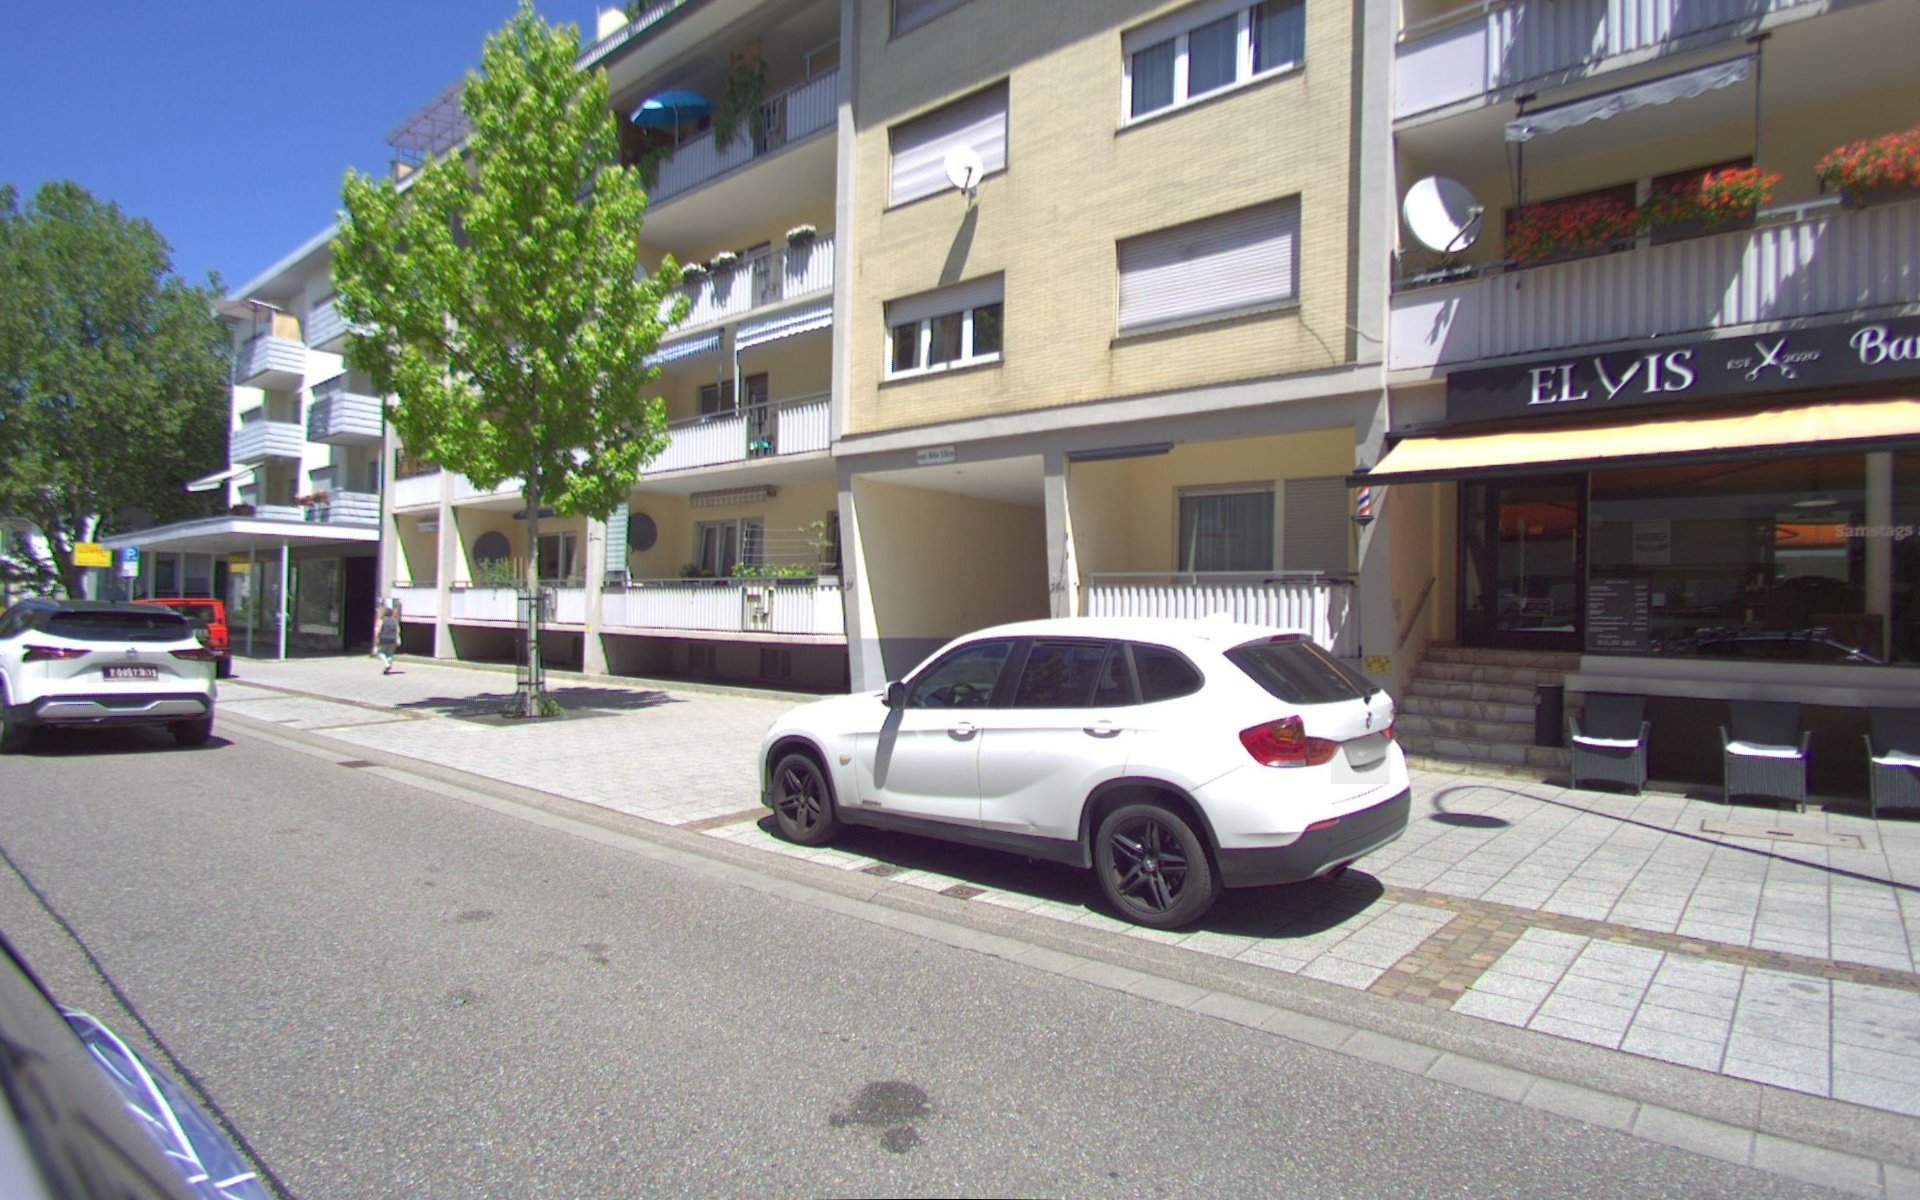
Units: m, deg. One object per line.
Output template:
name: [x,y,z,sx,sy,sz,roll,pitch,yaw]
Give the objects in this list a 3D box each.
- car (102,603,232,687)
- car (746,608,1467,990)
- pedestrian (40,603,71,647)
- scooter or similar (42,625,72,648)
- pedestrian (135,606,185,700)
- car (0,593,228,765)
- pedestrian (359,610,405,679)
car: [-17.246,0.913,21.976,3.368,1.674,1.623,-1,0,41]
car: [0.626,0.863,6.363,4.299,1.604,1.677,-1,-1,42]
pedestrian: [-37.685,1.055,42.157,0.737,1.806,0.635,0,-2,18]
scooter or similar: [-36.917,1.493,41.373,0.737,0.932,0.635,0,-2,18]
pedestrian: [-15.894,1.039,20.101,0.658,1.818,0.686,3,-3,-44]
car: [-10.288,0.839,11.756,4.295,1.645,1.754,-1,-5,39]
pedestrian: [-12.930,0.984,22.634,0.767,1.510,0.698,2,-3,-38]
